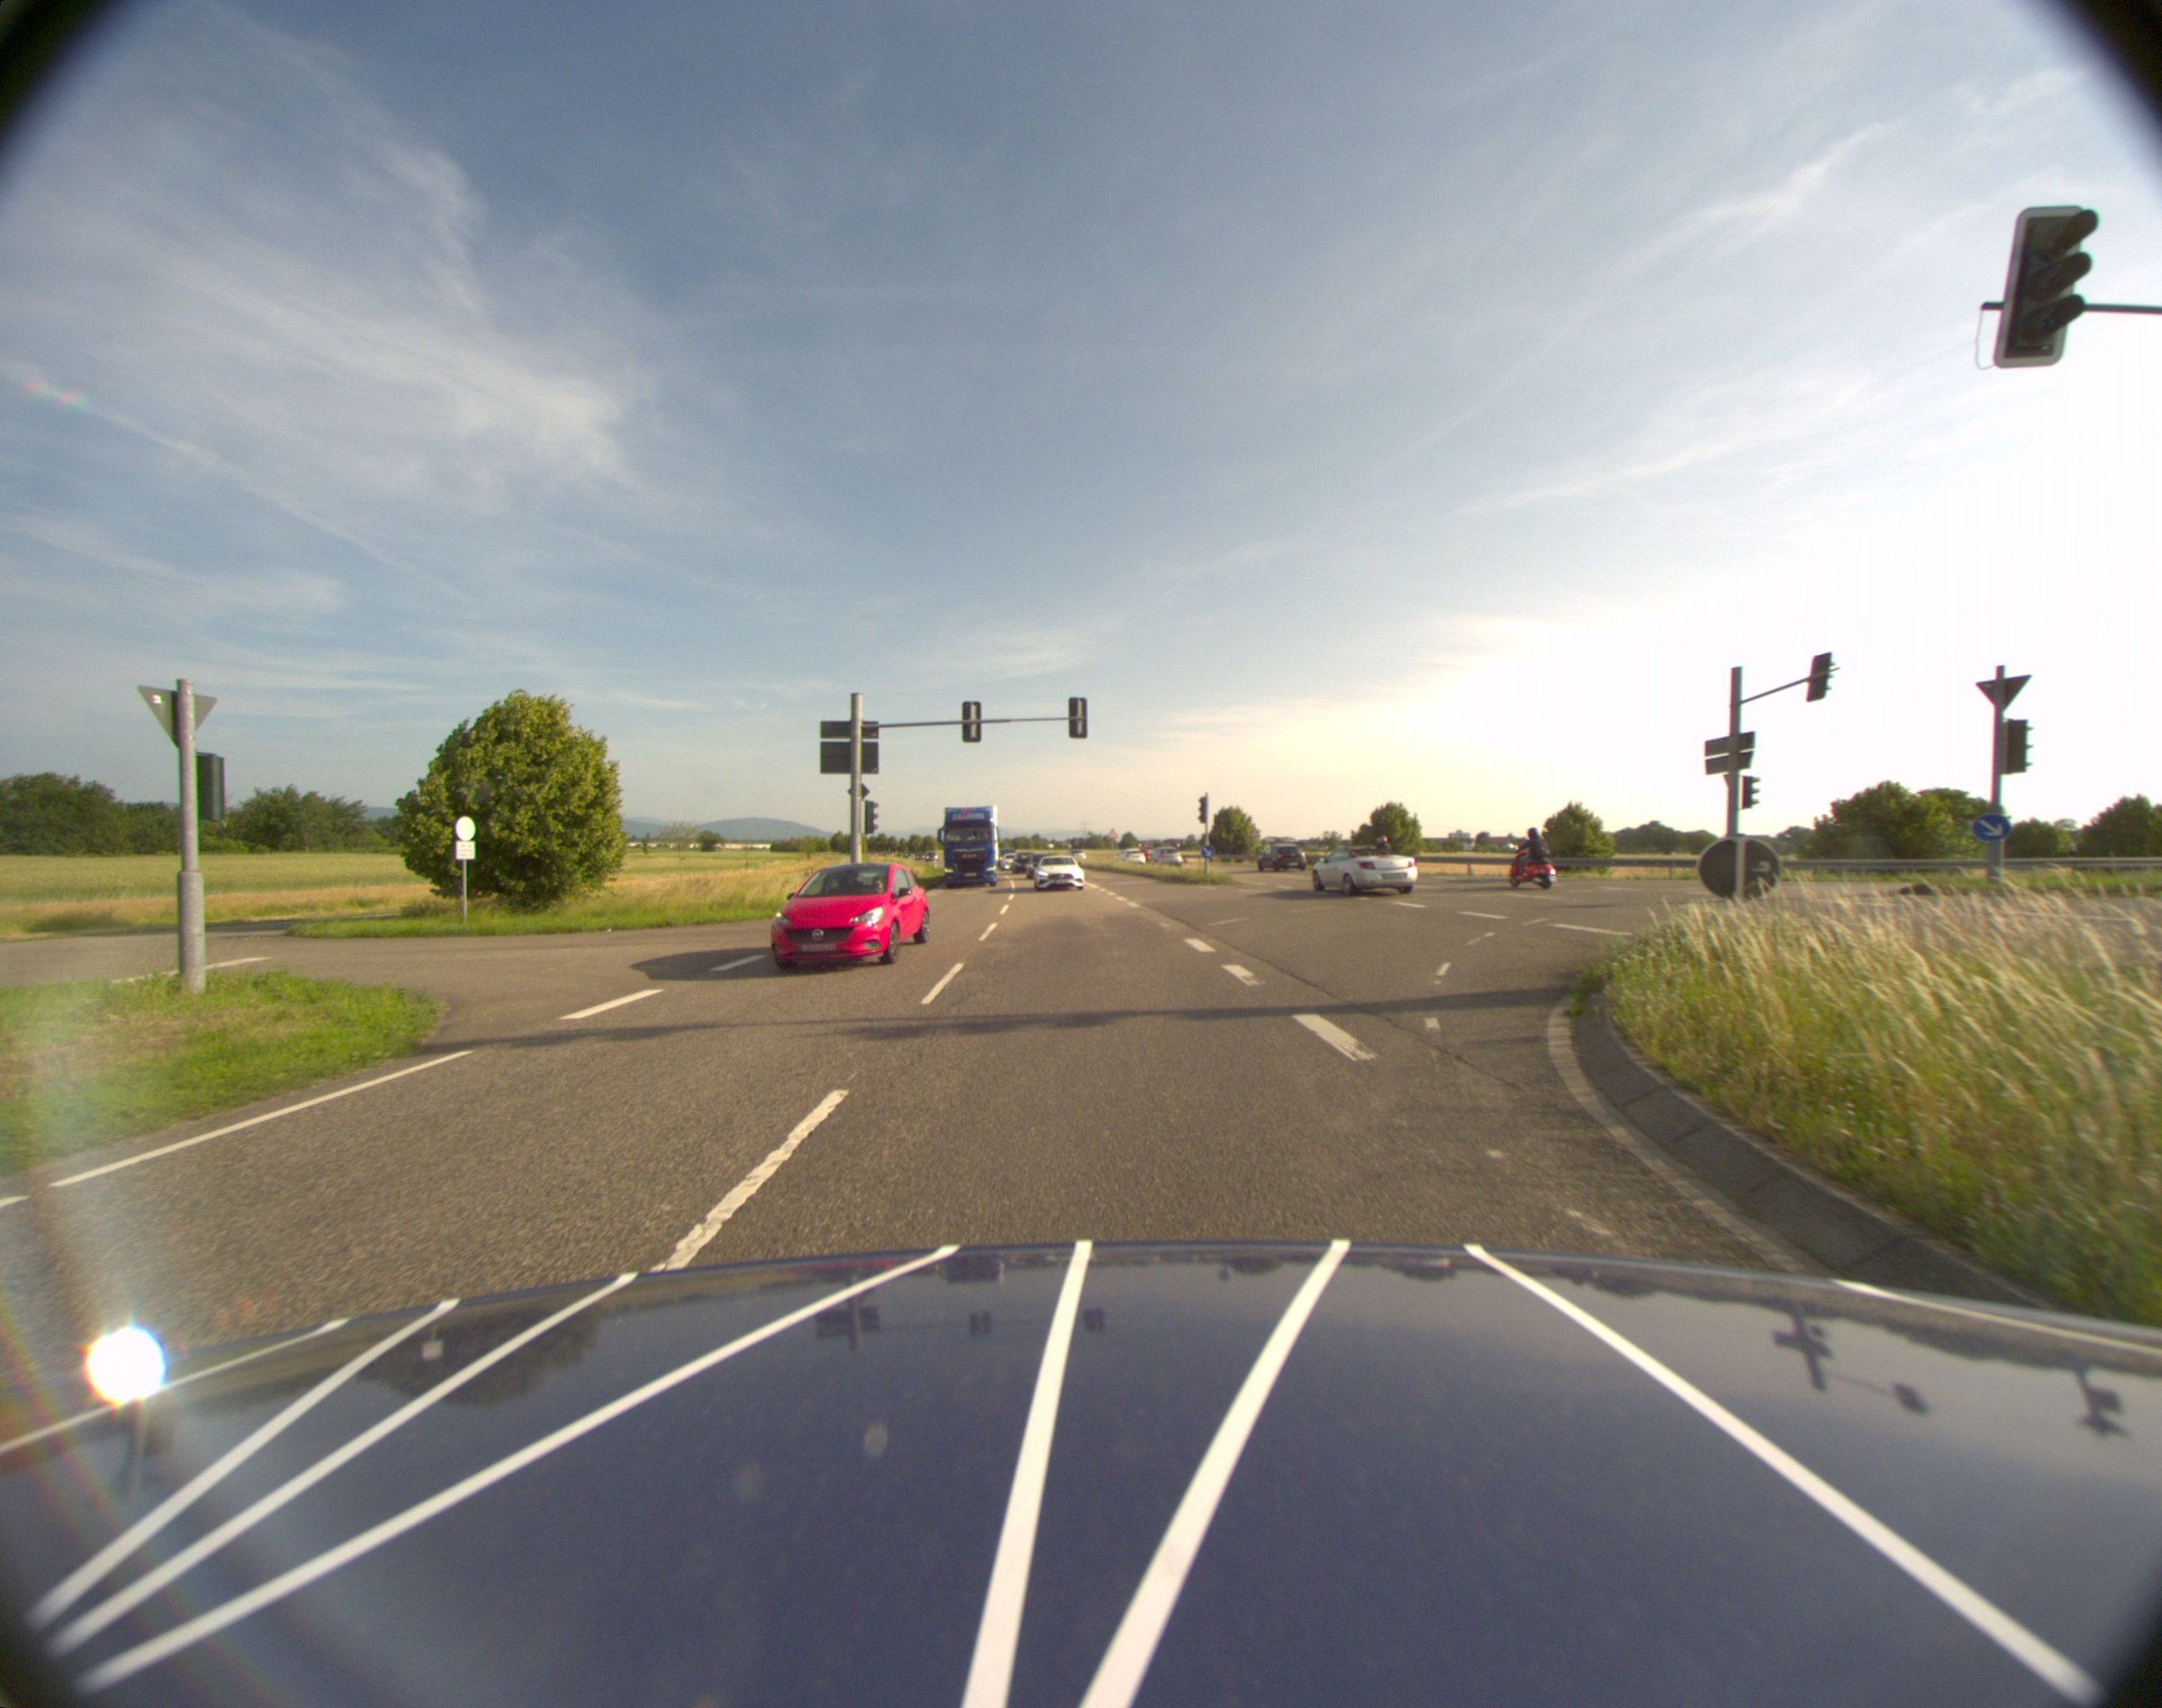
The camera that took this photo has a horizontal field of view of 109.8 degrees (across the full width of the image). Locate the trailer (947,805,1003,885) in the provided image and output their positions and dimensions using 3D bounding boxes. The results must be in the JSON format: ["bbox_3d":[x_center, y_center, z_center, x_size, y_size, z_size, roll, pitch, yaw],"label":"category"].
[{"bbox_3d":[-6.316,-0.511,45.861,2.653,3.956,13.920,-2,1,-7],"label":"trailer"}]

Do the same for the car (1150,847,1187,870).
[{"bbox_3d":[6.132,0.315,53.674,1.691,1.514,4.089,-2,0,-7],"label":"car"}]

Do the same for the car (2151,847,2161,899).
[{"bbox_3d":[30.964,0.471,19.726,3.999,1.390,1.959,-1,1,-6],"label":"car"}]

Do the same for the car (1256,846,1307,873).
[{"bbox_3d":[11.084,0.294,42.162,1.690,1.404,3.520,-2,0,-3],"label":"car"}]

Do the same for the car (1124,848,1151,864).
[{"bbox_3d":[5.548,0.188,75.216,1.666,1.458,4.018,-1,1,-11],"label":"car"}]

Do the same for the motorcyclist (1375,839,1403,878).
[{"bbox_3d":[12.250,0.168,30.207,0.699,1.494,0.896,-1,0,-2],"label":"motorcyclist"}]

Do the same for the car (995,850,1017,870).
[{"bbox_3d":[-7.348,0.551,74.027,1.832,1.830,3.996,-1,0,-10],"label":"car"}]

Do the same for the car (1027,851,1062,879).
[{"bbox_3d":[-2.217,0.592,44.818,1.752,1.521,3.997,-1,0,-7],"label":"car"}]

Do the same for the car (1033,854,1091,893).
[{"bbox_3d":[-0.840,0.731,30.853,1.877,1.390,4.201,-1,1,-8],"label":"car"}]

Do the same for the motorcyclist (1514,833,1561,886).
[{"bbox_3d":[12.986,0.154,21.651,0.706,1.456,1.020,-2,1,1],"label":"motorcyclist"}]

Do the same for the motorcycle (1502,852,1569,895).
[{"bbox_3d":[12.985,0.521,21.764,0.709,1.152,2.023,-2,0,1],"label":"motorcycle"}]

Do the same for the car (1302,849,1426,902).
[{"bbox_3d":[8.141,0.563,22.327,1.699,1.345,4.451,-2,0,-4],"label":"car"}]

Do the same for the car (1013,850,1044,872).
[{"bbox_3d":[-3.903,0.458,55.607,1.832,1.521,3.996,-1,0,-10],"label":"car"}]

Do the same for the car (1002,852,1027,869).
[{"bbox_3d":[-5.748,0.551,65.557,1.696,1.406,3.996,-1,0,-12],"label":"car"}]

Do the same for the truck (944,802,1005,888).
[{"bbox_3d":[-5.315,-0.437,38.408,2.653,3.897,5.946,-2,1,-7],"label":"truck"}]

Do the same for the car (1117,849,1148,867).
[{"bbox_3d":[4.294,0.331,64.101,1.735,1.405,4.392,-2,0,-7],"label":"car"}]

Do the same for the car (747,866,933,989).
[{"bbox_3d":[-3.504,0.986,11.835,1.665,1.455,3.954,-2,1,-1],"label":"car"}]

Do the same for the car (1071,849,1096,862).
[{"bbox_3d":[0.267,0.169,85.915,1.934,1.426,4.696,-1,1,-12],"label":"car"}]
